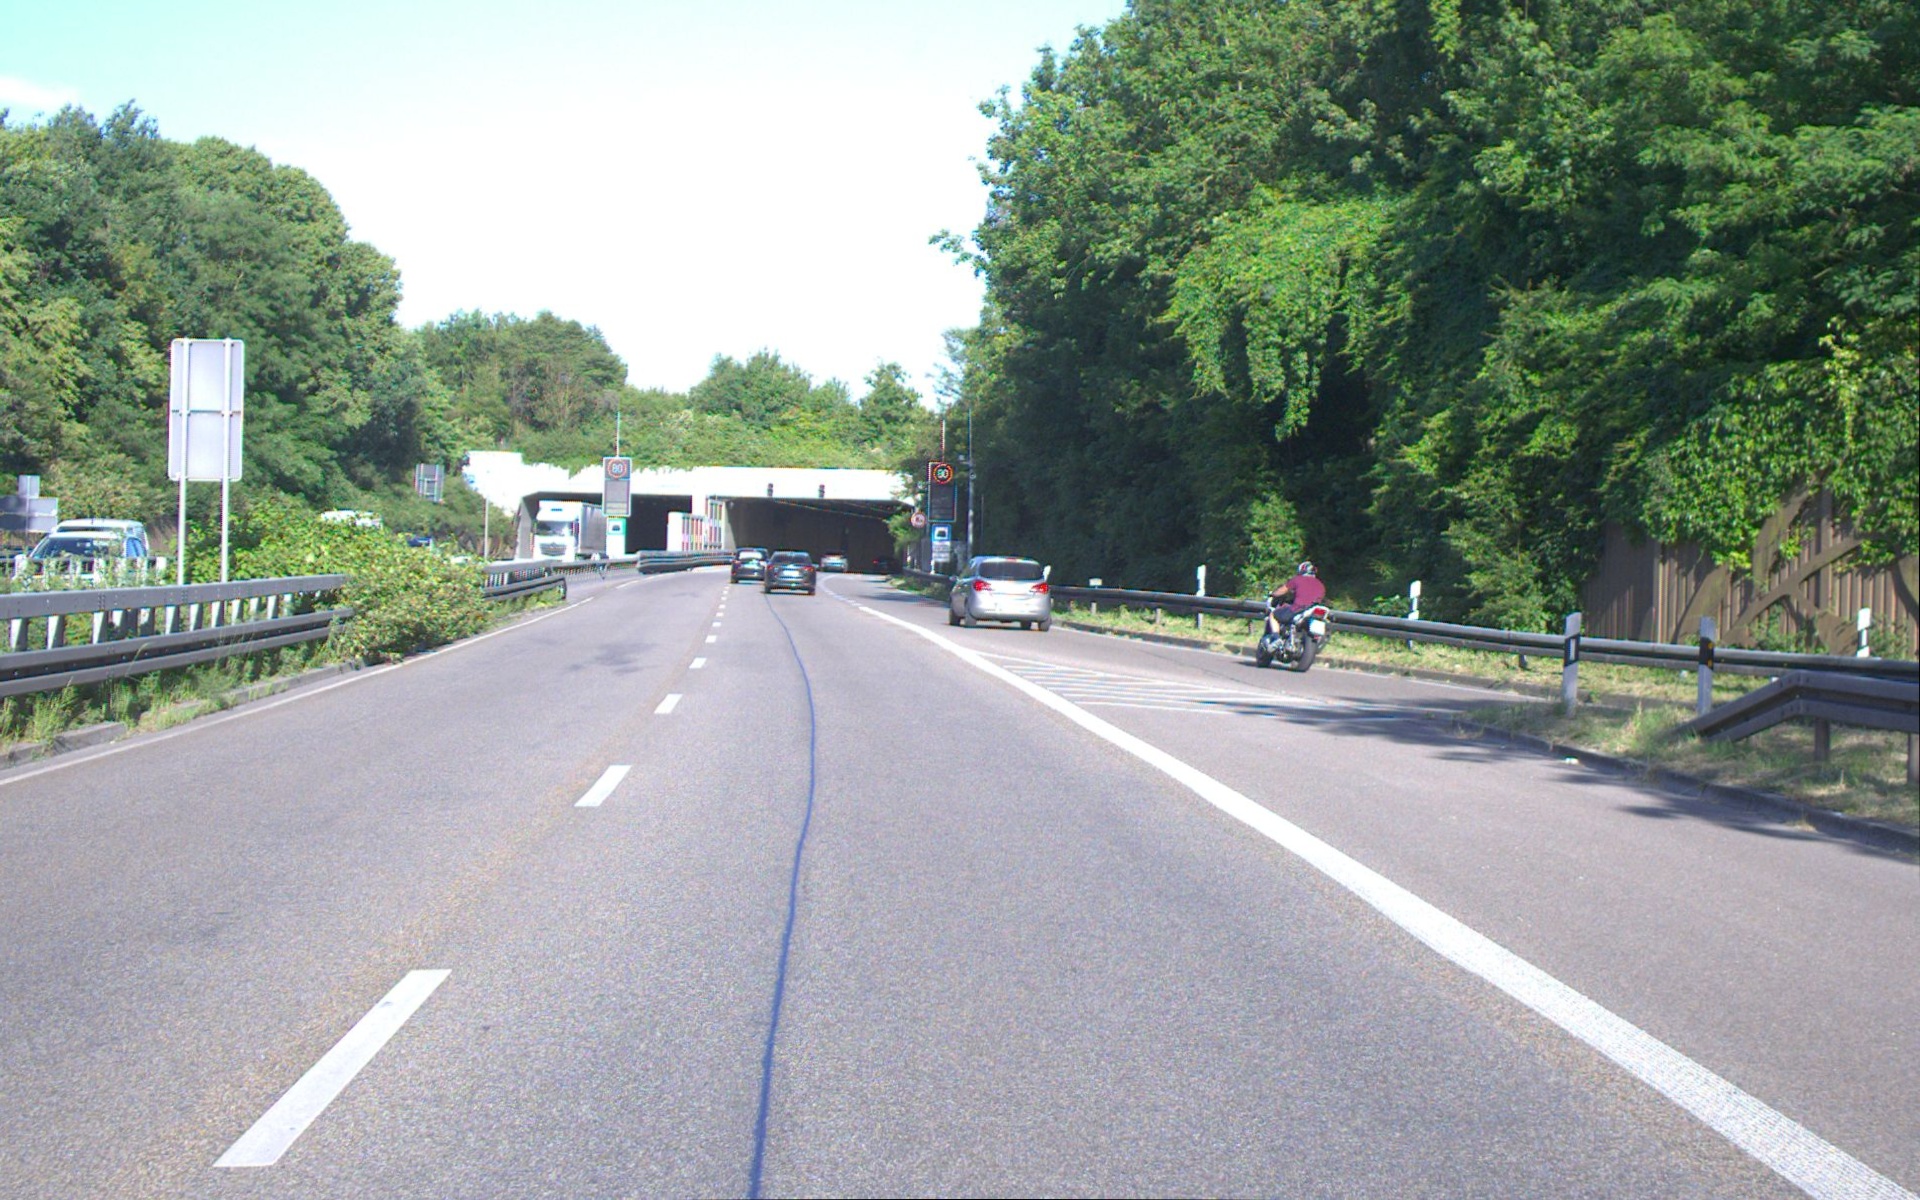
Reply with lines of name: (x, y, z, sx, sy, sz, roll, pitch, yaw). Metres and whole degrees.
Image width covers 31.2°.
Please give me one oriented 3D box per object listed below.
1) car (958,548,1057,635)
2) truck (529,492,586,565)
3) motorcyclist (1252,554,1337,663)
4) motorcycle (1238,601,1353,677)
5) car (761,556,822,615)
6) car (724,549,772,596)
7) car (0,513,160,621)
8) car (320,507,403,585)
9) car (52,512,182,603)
car: (0.930, -0.198, 69.455, 1.667, 1.546, 4.001, 3, 2, -3)
truck: (-24.741, -4.431, 211.539, 2.735, 4.246, 6.388, 3, 2, -2)
motorcyclist: (4.873, 0.116, 50.155, 0.883, 1.496, 1.063, 3, 1, -12)
motorcycle: (4.864, 0.553, 50.103, 0.858, 0.988, 2.729, 3, 0, -12)
car: (-5.884, -0.525, 119.686, 1.993, 1.919, 4.001, 2, 1, -3)
car: (-9.189, -1.199, 149.382, 1.993, 1.919, 4.001, 2, 1, -3)
car: (-13.713, -0.543, 53.143, 1.822, 1.475, 4.622, 3, 2, -4)
car: (-21.700, -1.999, 124.894, 2.147, 2.602, 6.053, 3, 2, -3)
car: (-18.368, -0.966, 75.106, 1.822, 1.815, 4.622, 3, 2, -3)
